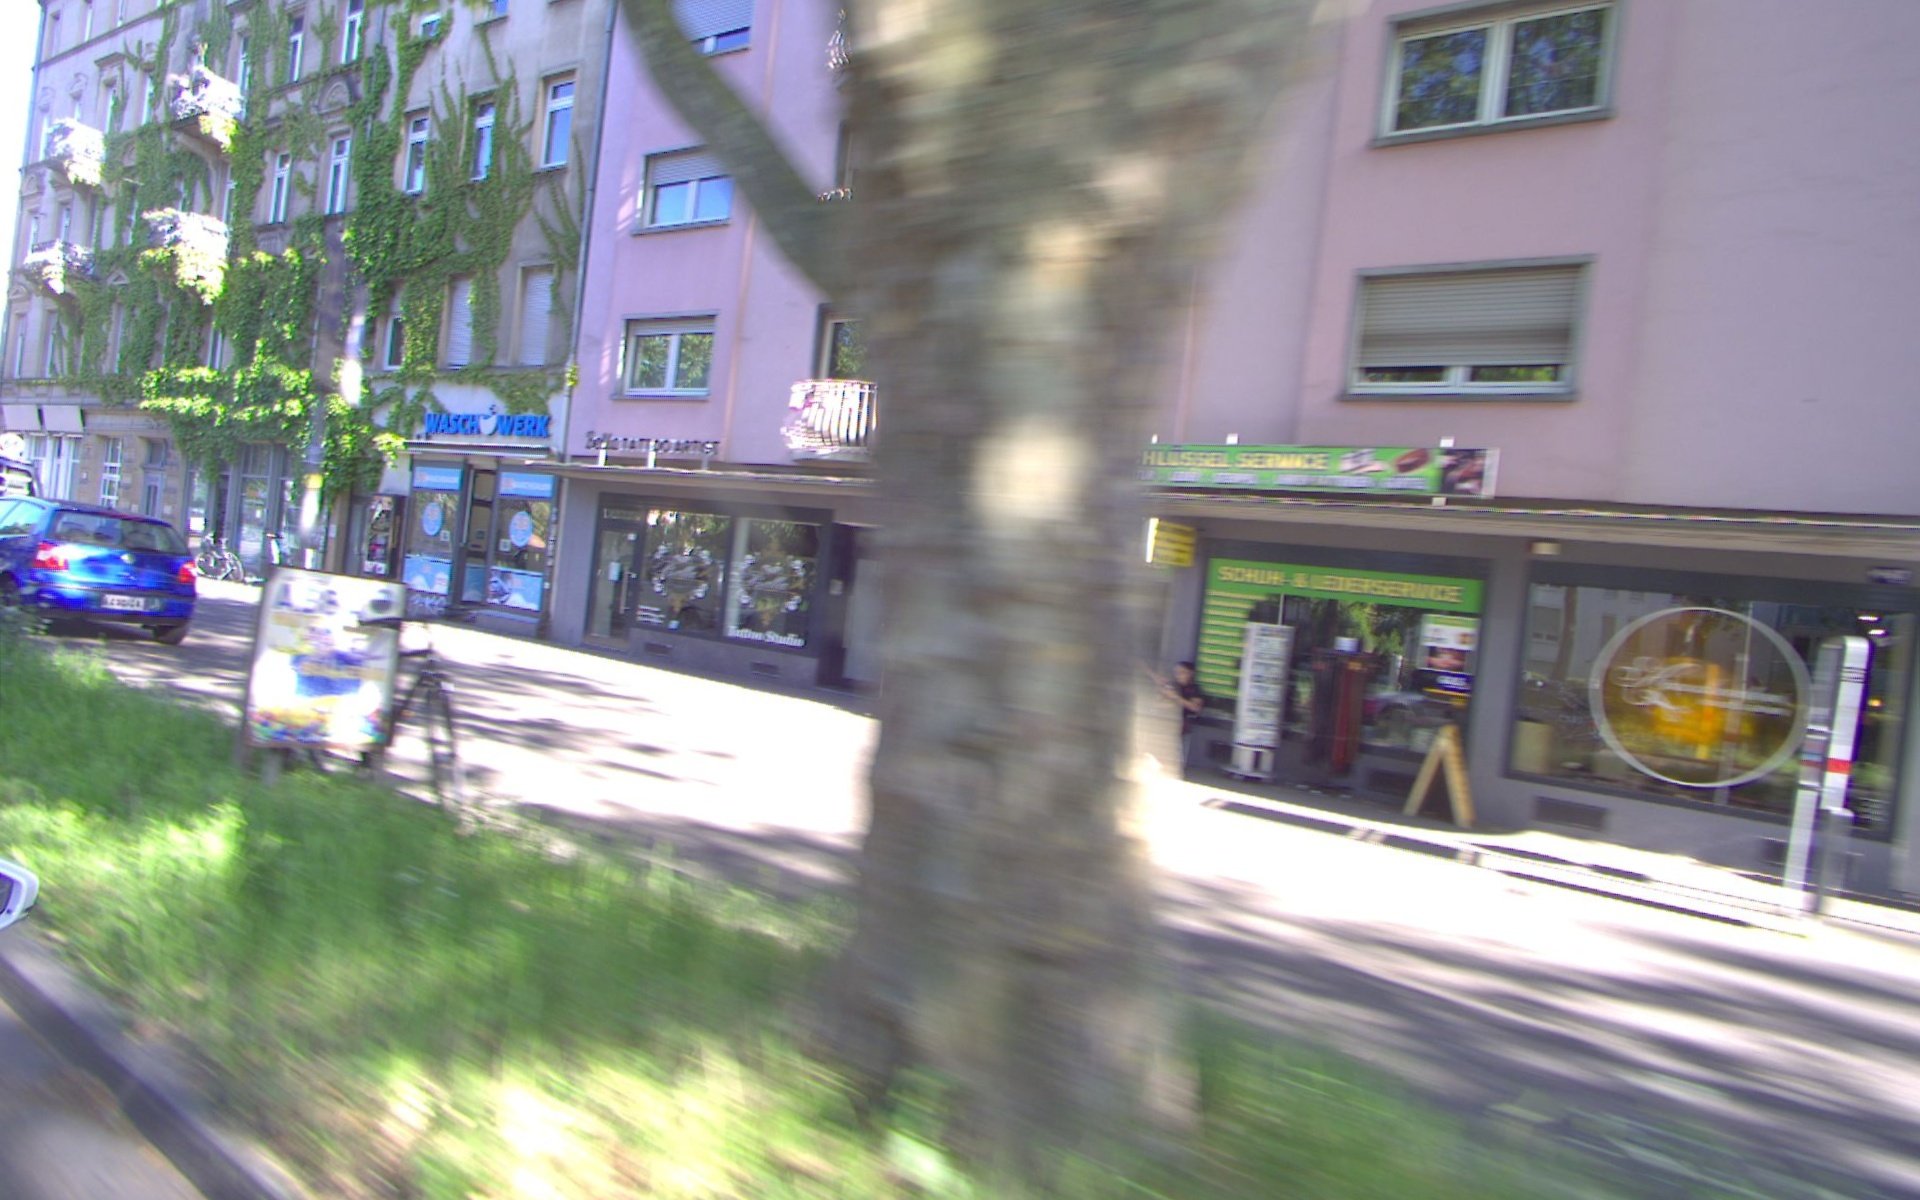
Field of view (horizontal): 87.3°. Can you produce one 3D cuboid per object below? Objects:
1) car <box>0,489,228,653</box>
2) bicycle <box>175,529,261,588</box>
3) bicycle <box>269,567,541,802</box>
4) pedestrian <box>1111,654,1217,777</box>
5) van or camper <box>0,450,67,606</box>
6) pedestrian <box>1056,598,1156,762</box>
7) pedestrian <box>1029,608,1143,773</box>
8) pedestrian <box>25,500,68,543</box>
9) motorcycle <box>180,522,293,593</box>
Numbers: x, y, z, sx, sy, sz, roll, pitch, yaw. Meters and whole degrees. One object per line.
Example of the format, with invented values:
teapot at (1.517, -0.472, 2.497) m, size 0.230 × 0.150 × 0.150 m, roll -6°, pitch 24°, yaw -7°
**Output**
car at (-10.453, -0.412, 11.641) m, size 3.604 × 1.531 × 1.687 m, roll 7°, pitch -1°, yaw 28°
bicycle at (-17.828, -0.995, 24.154) m, size 2.361 × 1.148 × 0.887 m, roll 7°, pitch 0°, yaw 35°
bicycle at (-2.996, 0.411, 5.394) m, size 1.426 × 1.003 × 0.589 m, roll 7°, pitch 0°, yaw 33°
pedestrian at (2.397, 1.329, 11.760) m, size 0.736 × 1.271 × 1.144 m, roll 7°, pitch 0°, yaw 31°
van or camper at (-14.866, -1.238, 14.154) m, size 5.040 × 1.986 × 1.843 m, roll 7°, pitch -1°, yaw 30°
pedestrian at (1.789, 0.964, 12.293) m, size 0.798 × 1.843 × 0.686 m, roll 7°, pitch 1°, yaw 29°
pedestrian at (1.461, 1.027, 11.590) m, size 0.799 × 1.730 × 0.924 m, roll 7°, pitch 0°, yaw 32°
pedestrian at (-27.573, -2.355, 30.364) m, size 0.728 × 1.165 × 0.708 m, roll 7°, pitch 0°, yaw 32°
motorcycle at (-16.413, -0.957, 22.864) m, size 1.866 × 1.282 × 0.558 m, roll 9°, pitch -2°, yaw -14°
